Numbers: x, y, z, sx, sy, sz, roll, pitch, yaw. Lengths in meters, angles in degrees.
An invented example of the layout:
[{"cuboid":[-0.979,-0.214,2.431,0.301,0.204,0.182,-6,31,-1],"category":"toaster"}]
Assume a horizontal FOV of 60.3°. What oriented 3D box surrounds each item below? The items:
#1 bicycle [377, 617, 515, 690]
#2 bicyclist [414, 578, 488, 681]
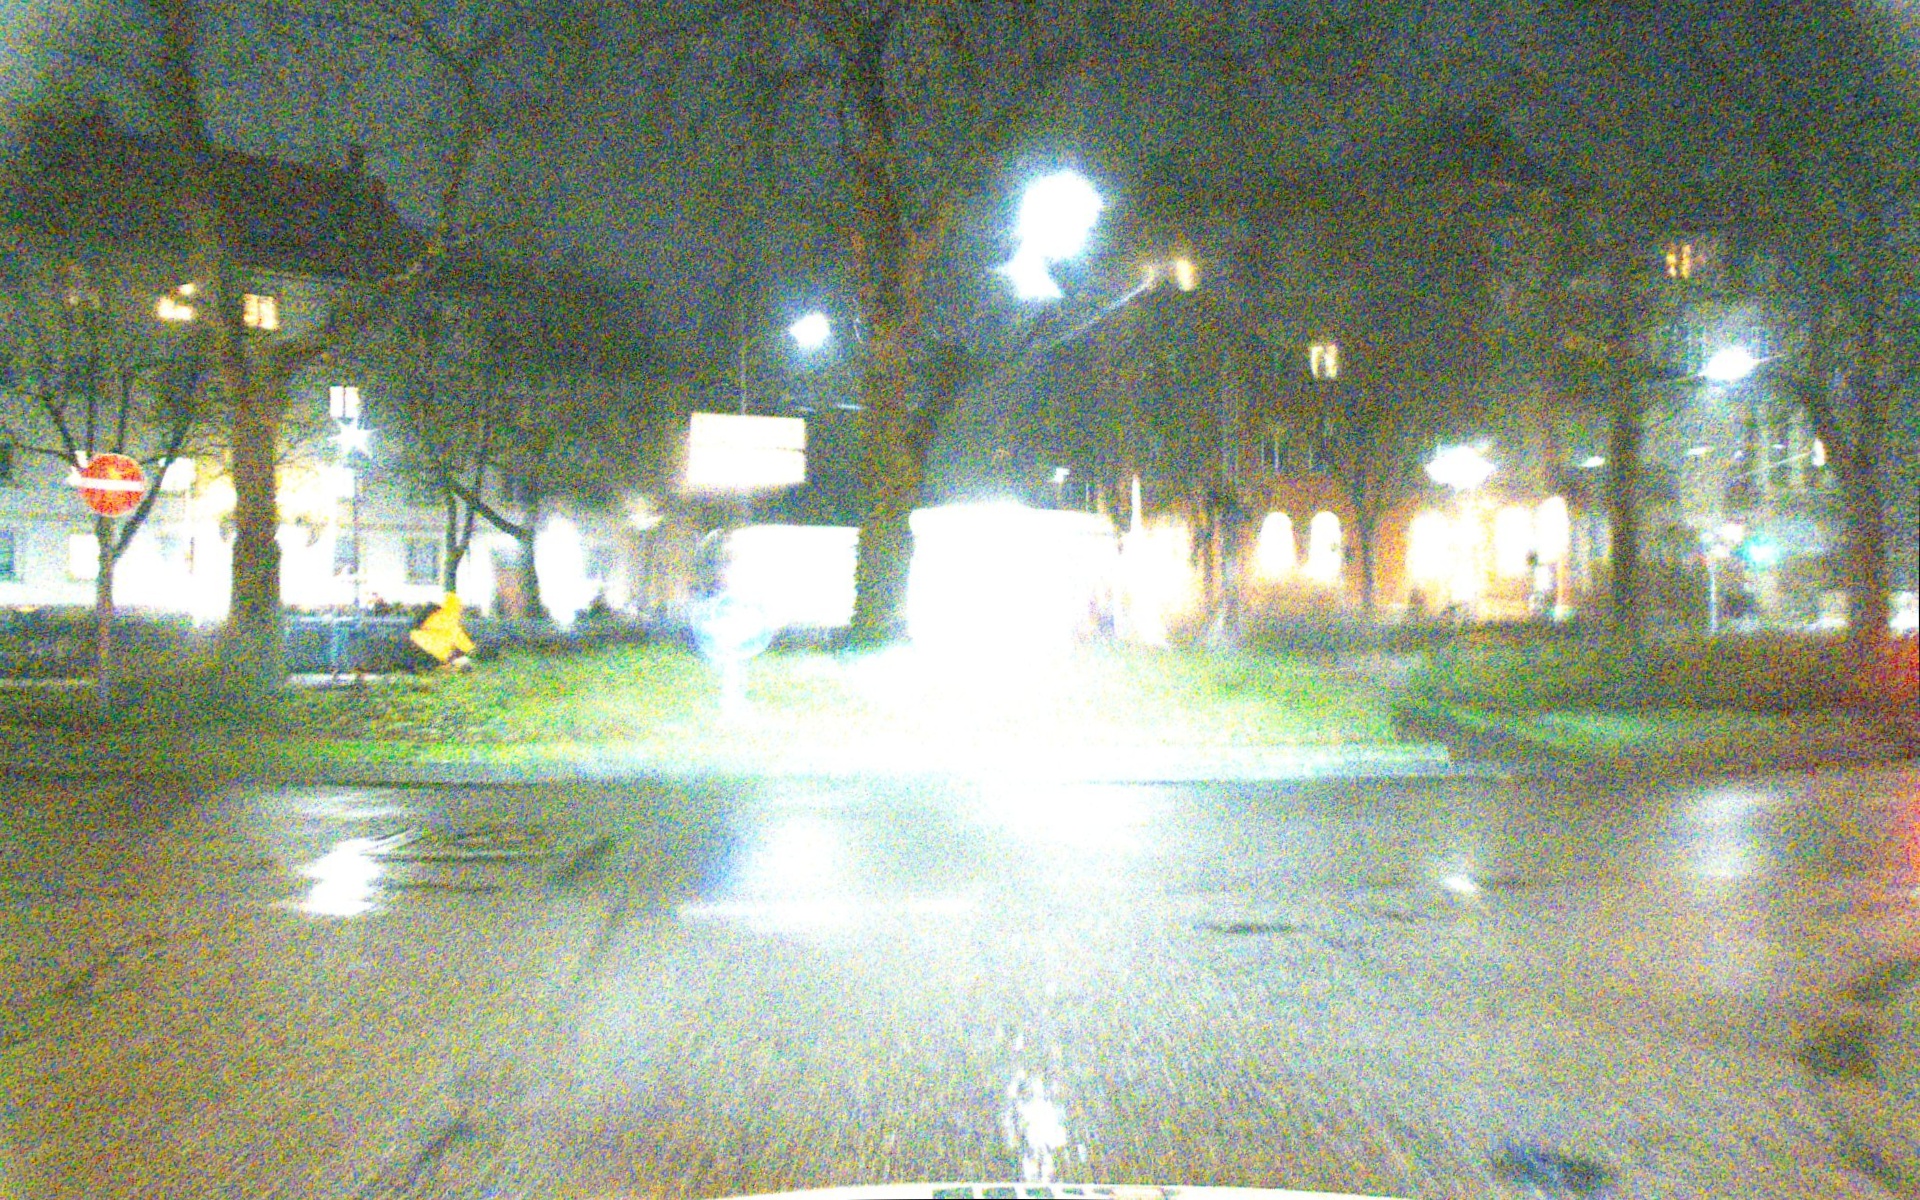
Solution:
[{"cuboid":[-7.142,0.747,23.003,1.756,0.948,0.495,2,-1,-26],"category":"bicycle"},{"cuboid":[-7.086,0.408,23.036,0.880,1.404,0.501,2,-1,-26],"category":"bicyclist"}]
